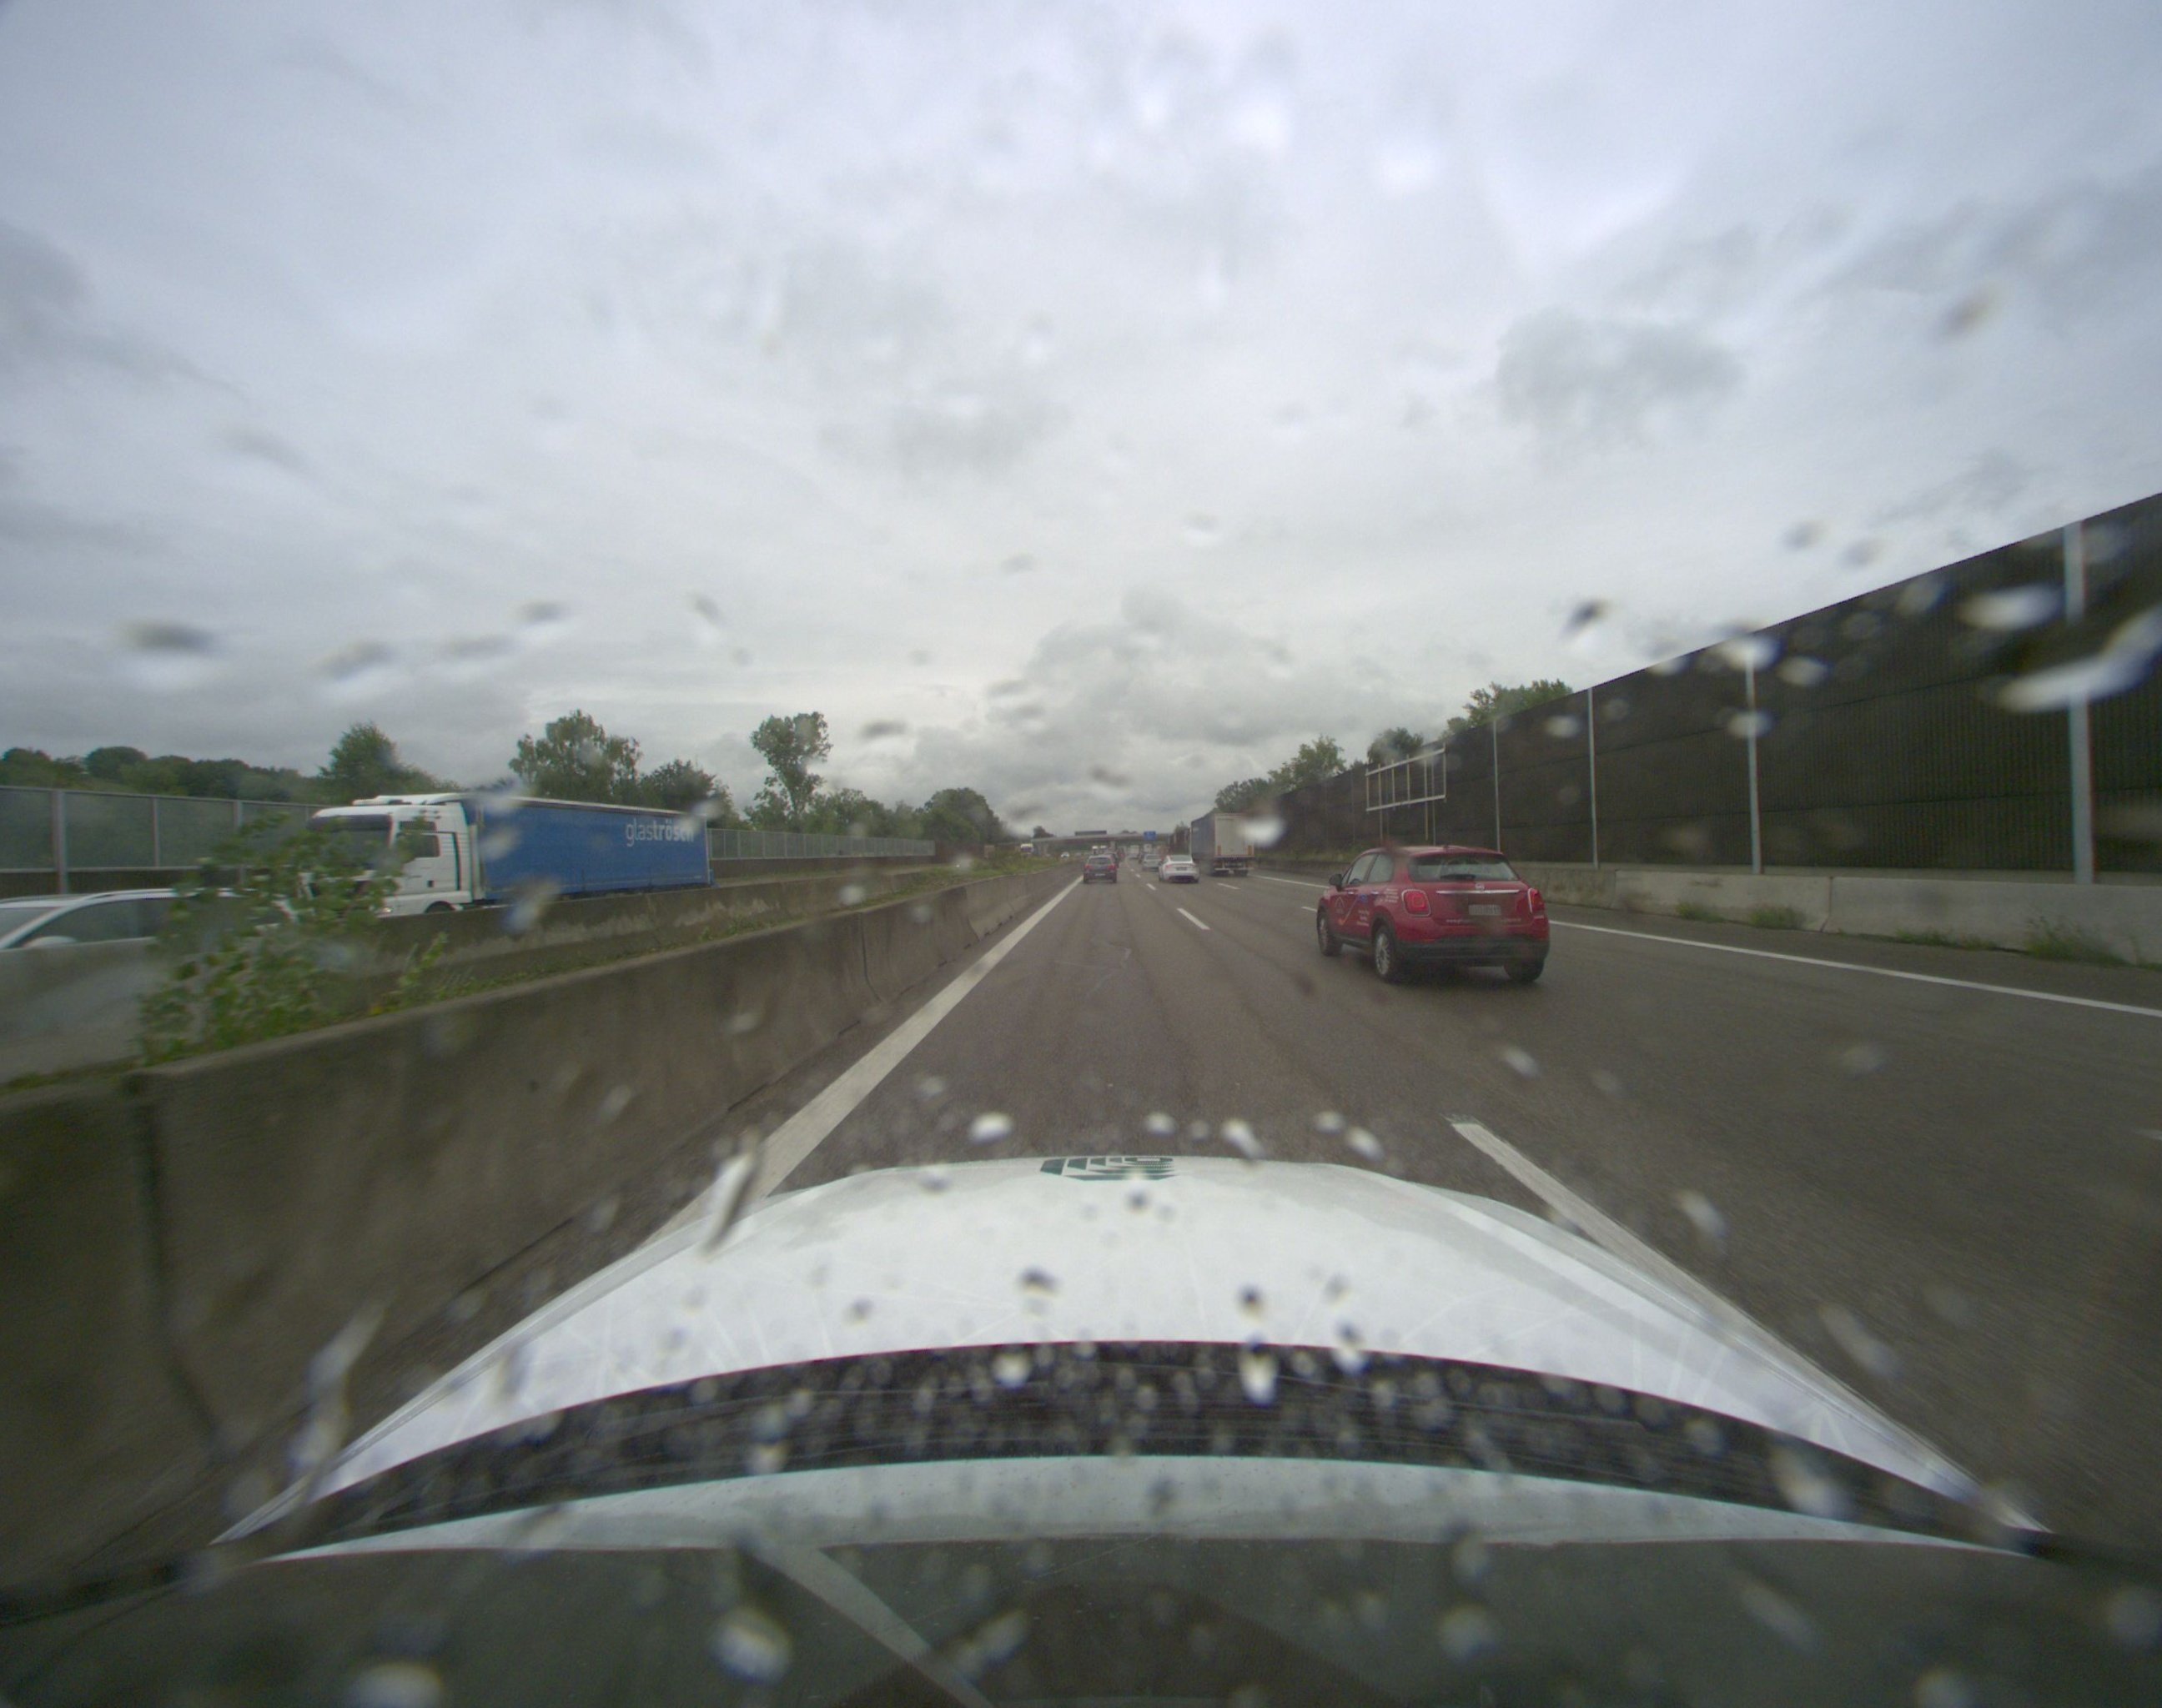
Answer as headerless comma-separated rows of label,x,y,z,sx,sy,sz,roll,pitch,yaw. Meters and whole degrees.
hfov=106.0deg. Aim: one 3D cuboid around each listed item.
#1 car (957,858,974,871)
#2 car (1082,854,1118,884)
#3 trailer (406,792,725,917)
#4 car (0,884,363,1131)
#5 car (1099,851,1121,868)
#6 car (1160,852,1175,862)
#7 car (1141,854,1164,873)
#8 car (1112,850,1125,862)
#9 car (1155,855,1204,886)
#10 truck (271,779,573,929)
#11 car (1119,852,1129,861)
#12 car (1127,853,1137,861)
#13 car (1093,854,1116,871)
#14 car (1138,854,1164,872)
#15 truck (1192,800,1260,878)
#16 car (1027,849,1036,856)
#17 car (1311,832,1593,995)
car,-14.513,1.319,102.578,1.555,1.569,3.689,0,0,2
car,0.965,0.749,42.849,1.758,1.453,3.999,-1,0,0
trailer,-18.307,0.033,31.089,2.982,3.691,14.060,0,0,1
car,-10.268,1.383,8.454,1.986,2.013,4.001,0,0,2
car,2.960,0.567,83.430,1.989,1.585,3.997,-2,0,-2
car,13.543,0.537,128.213,1.987,1.519,4.000,-1,0,1
car,6.079,0.804,69.453,1.696,1.543,3.840,-1,0,1
car,6.273,0.330,137.384,1.987,1.815,3.999,-1,0,-1
car,5.069,0.820,42.358,1.988,1.486,3.998,-1,0,-1
truck,-18.349,0.013,23.479,2.982,3.691,6.883,0,0,1
car,8.589,0.508,163.072,1.986,1.624,4.002,-1,0,2
car,10.708,0.636,171.227,1.987,1.519,4.000,-1,0,1
car,1.957,0.705,68.056,1.777,1.406,3.624,-1,0,-1
car,5.994,0.750,69.841,1.986,1.519,4.002,-1,0,2
truck,9.287,-0.884,52.913,3.035,4.734,7.678,0,0,0
car,-10.177,-0.340,167.533,1.989,1.519,3.995,-1,0,-3
car,4.464,0.626,10.575,1.949,1.647,4.003,-2,0,3
